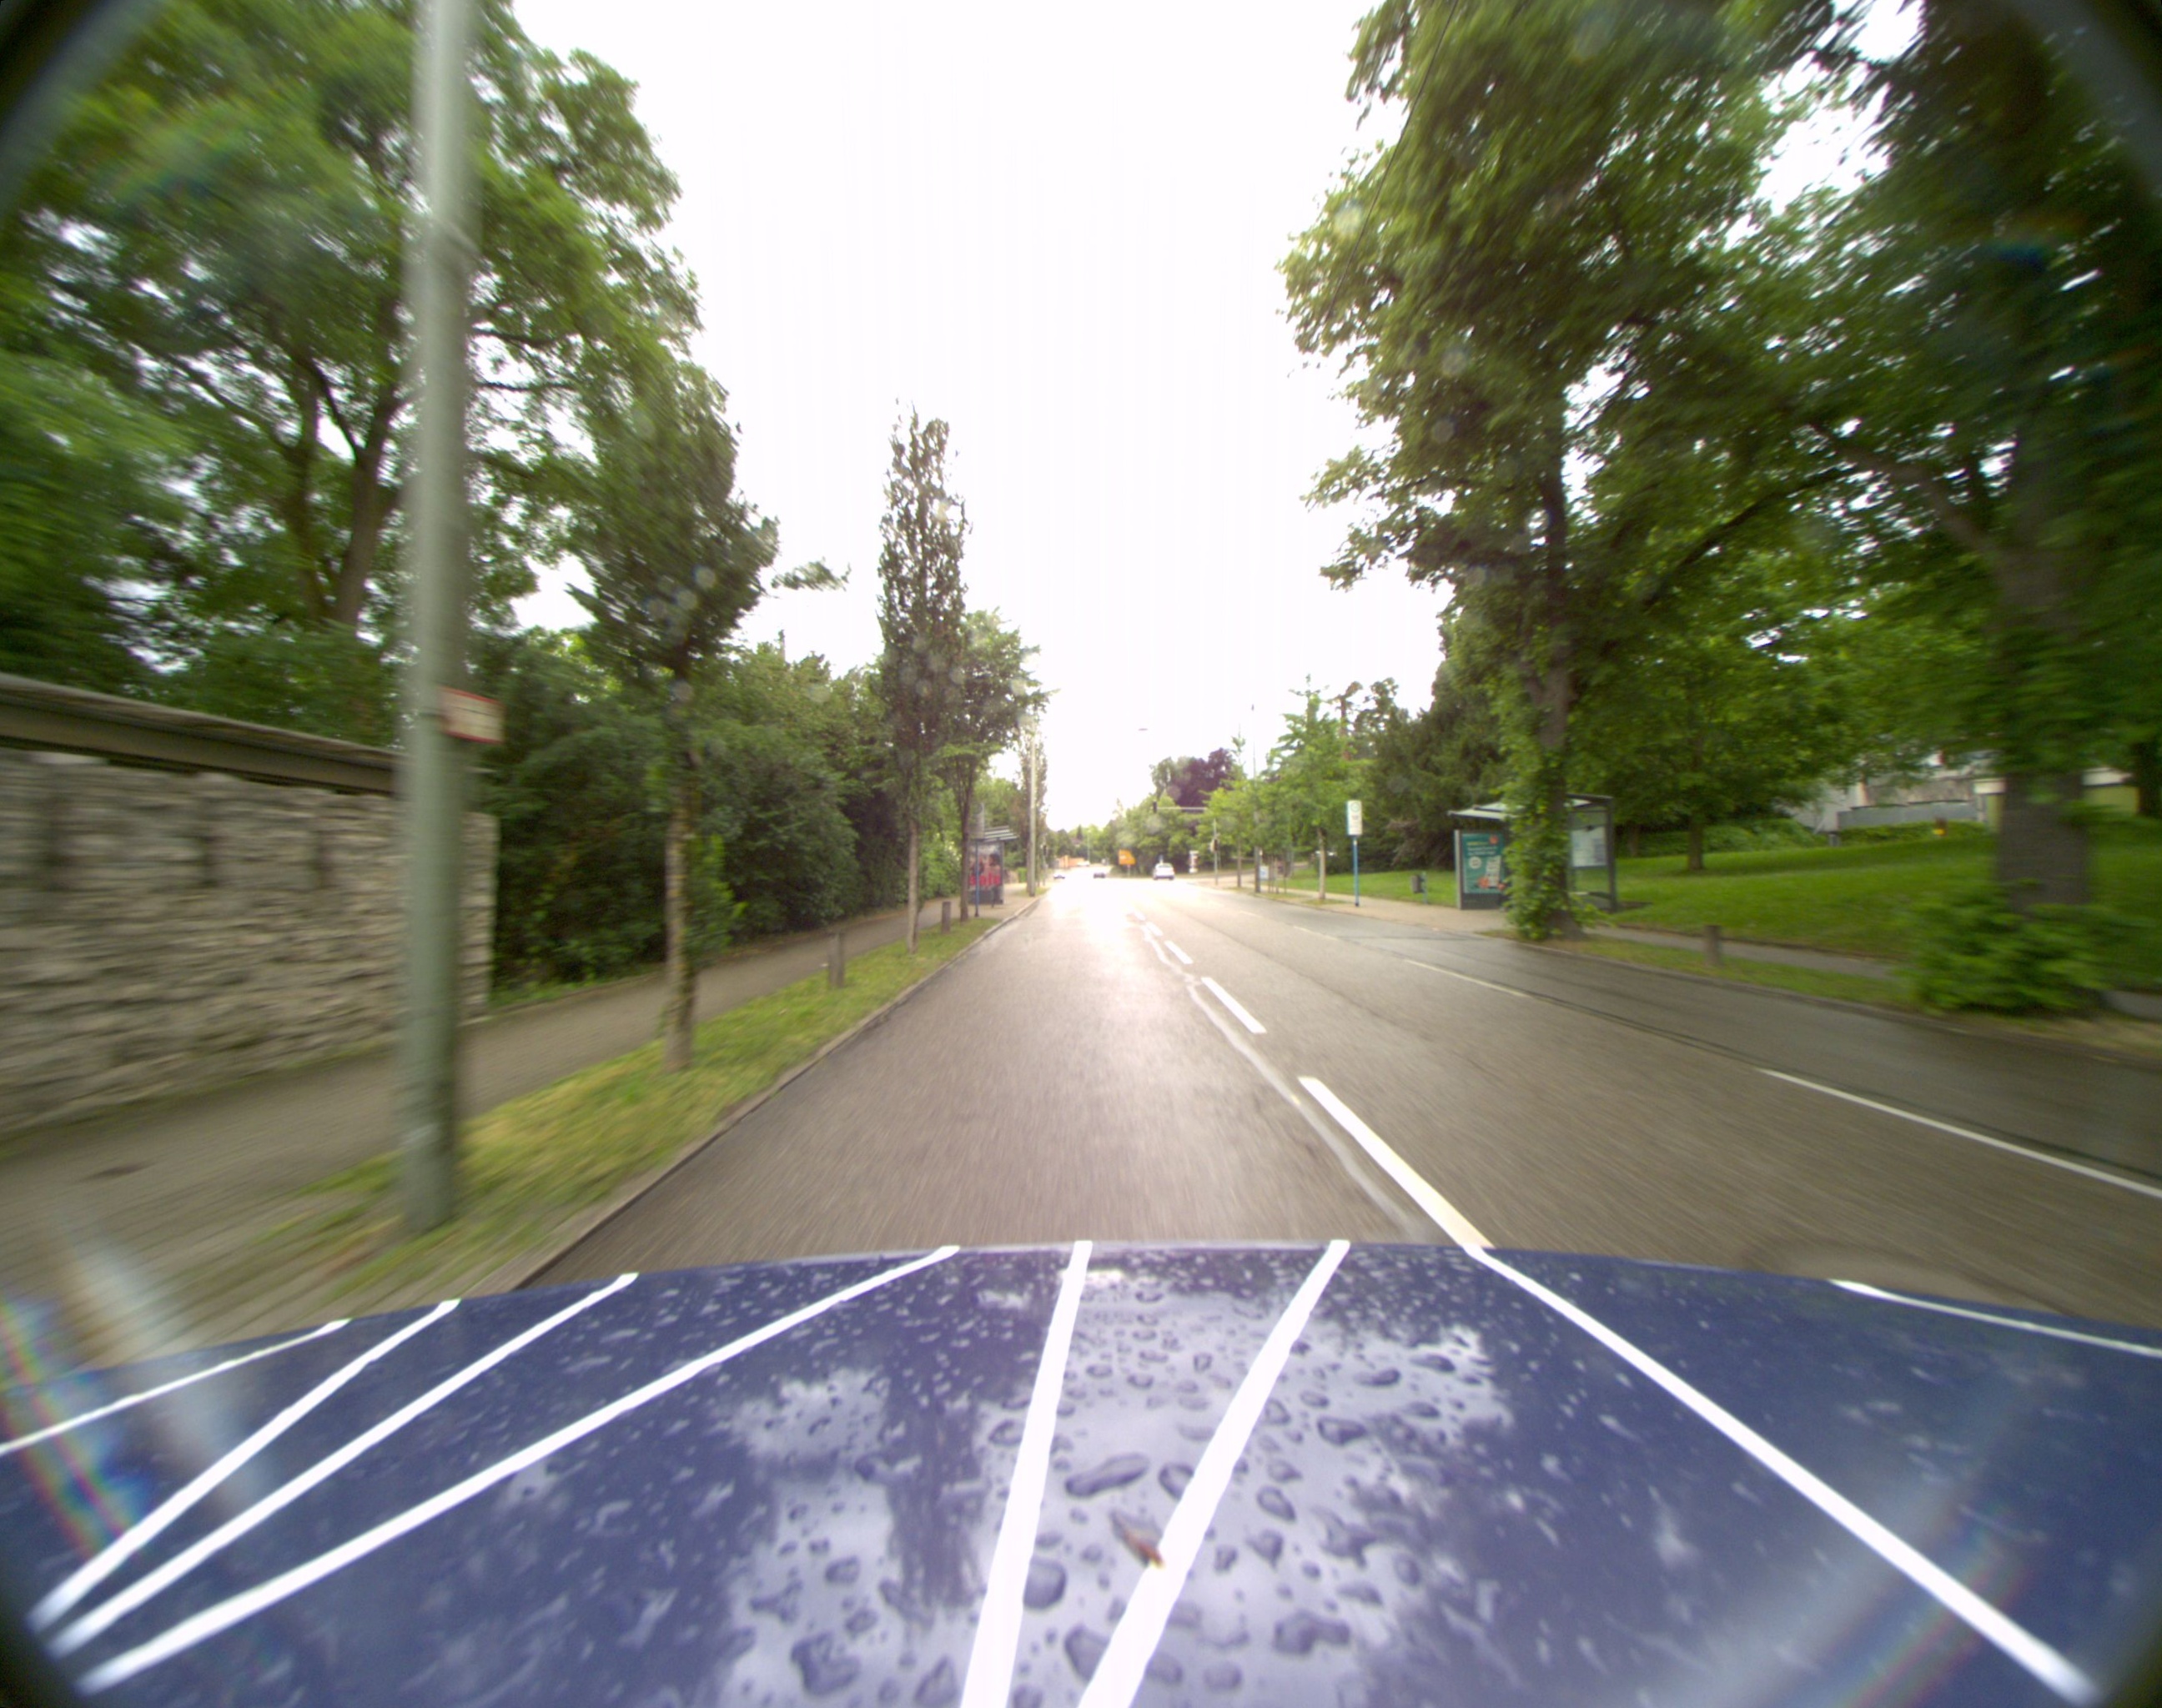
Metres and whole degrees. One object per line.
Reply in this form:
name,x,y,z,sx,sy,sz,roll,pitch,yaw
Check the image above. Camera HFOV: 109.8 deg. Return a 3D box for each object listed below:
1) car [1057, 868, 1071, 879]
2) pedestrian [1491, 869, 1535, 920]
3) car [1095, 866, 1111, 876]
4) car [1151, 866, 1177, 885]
car,-2.963,3.312,131.305,1.998,1.674,4.001,-3,-1,3
pedestrian,11.531,1.075,20.301,0.777,1.293,0.745,-2,0,8
car,3.833,2.920,131.943,1.878,1.540,3.996,1,0,-10
car,7.326,1.905,67.139,1.876,1.539,4.001,2,-1,1
